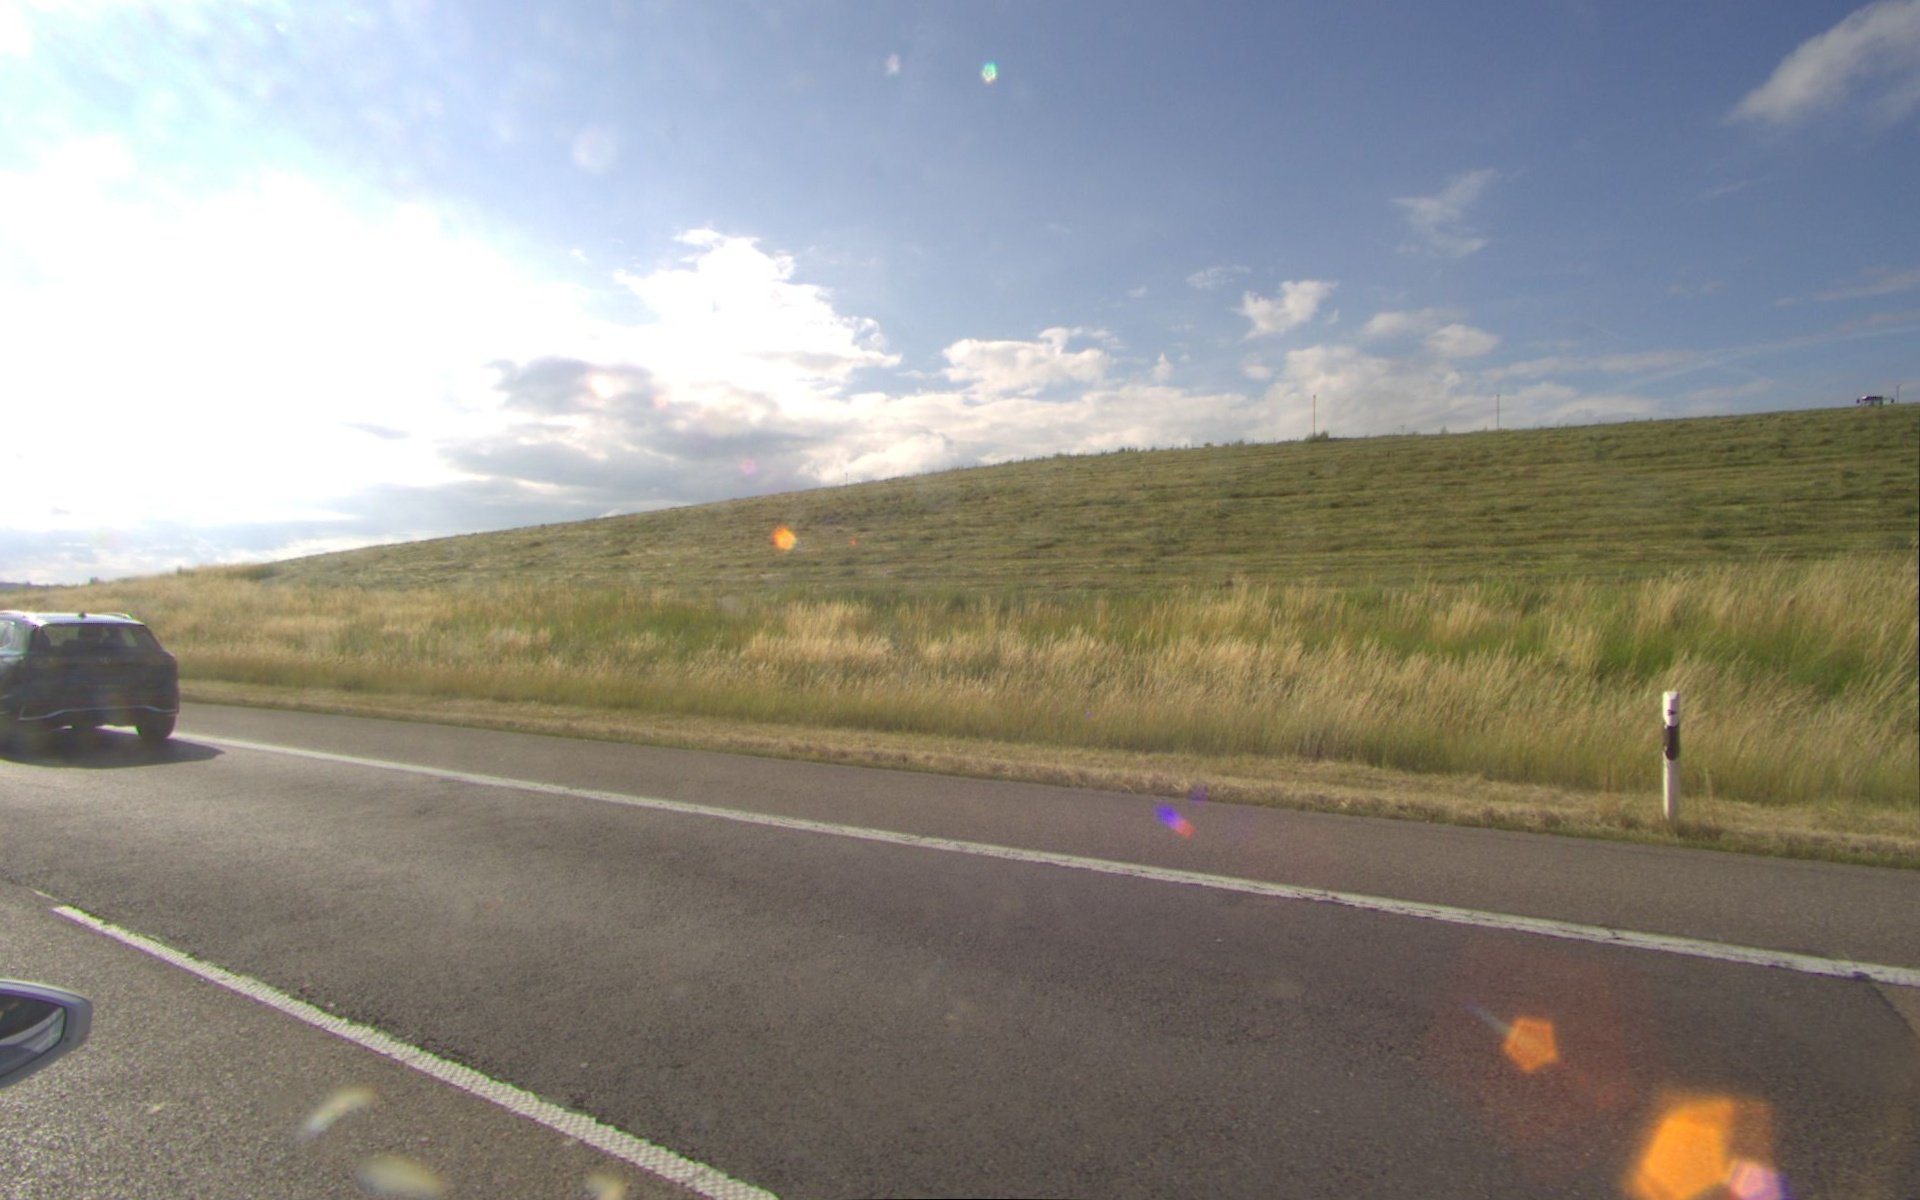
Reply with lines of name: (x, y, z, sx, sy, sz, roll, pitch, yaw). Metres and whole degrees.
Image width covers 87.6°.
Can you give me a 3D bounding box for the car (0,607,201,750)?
car: (-12.052, 0.968, 13.268, 4.174, 1.621, 1.818, -1, -3, 32)
